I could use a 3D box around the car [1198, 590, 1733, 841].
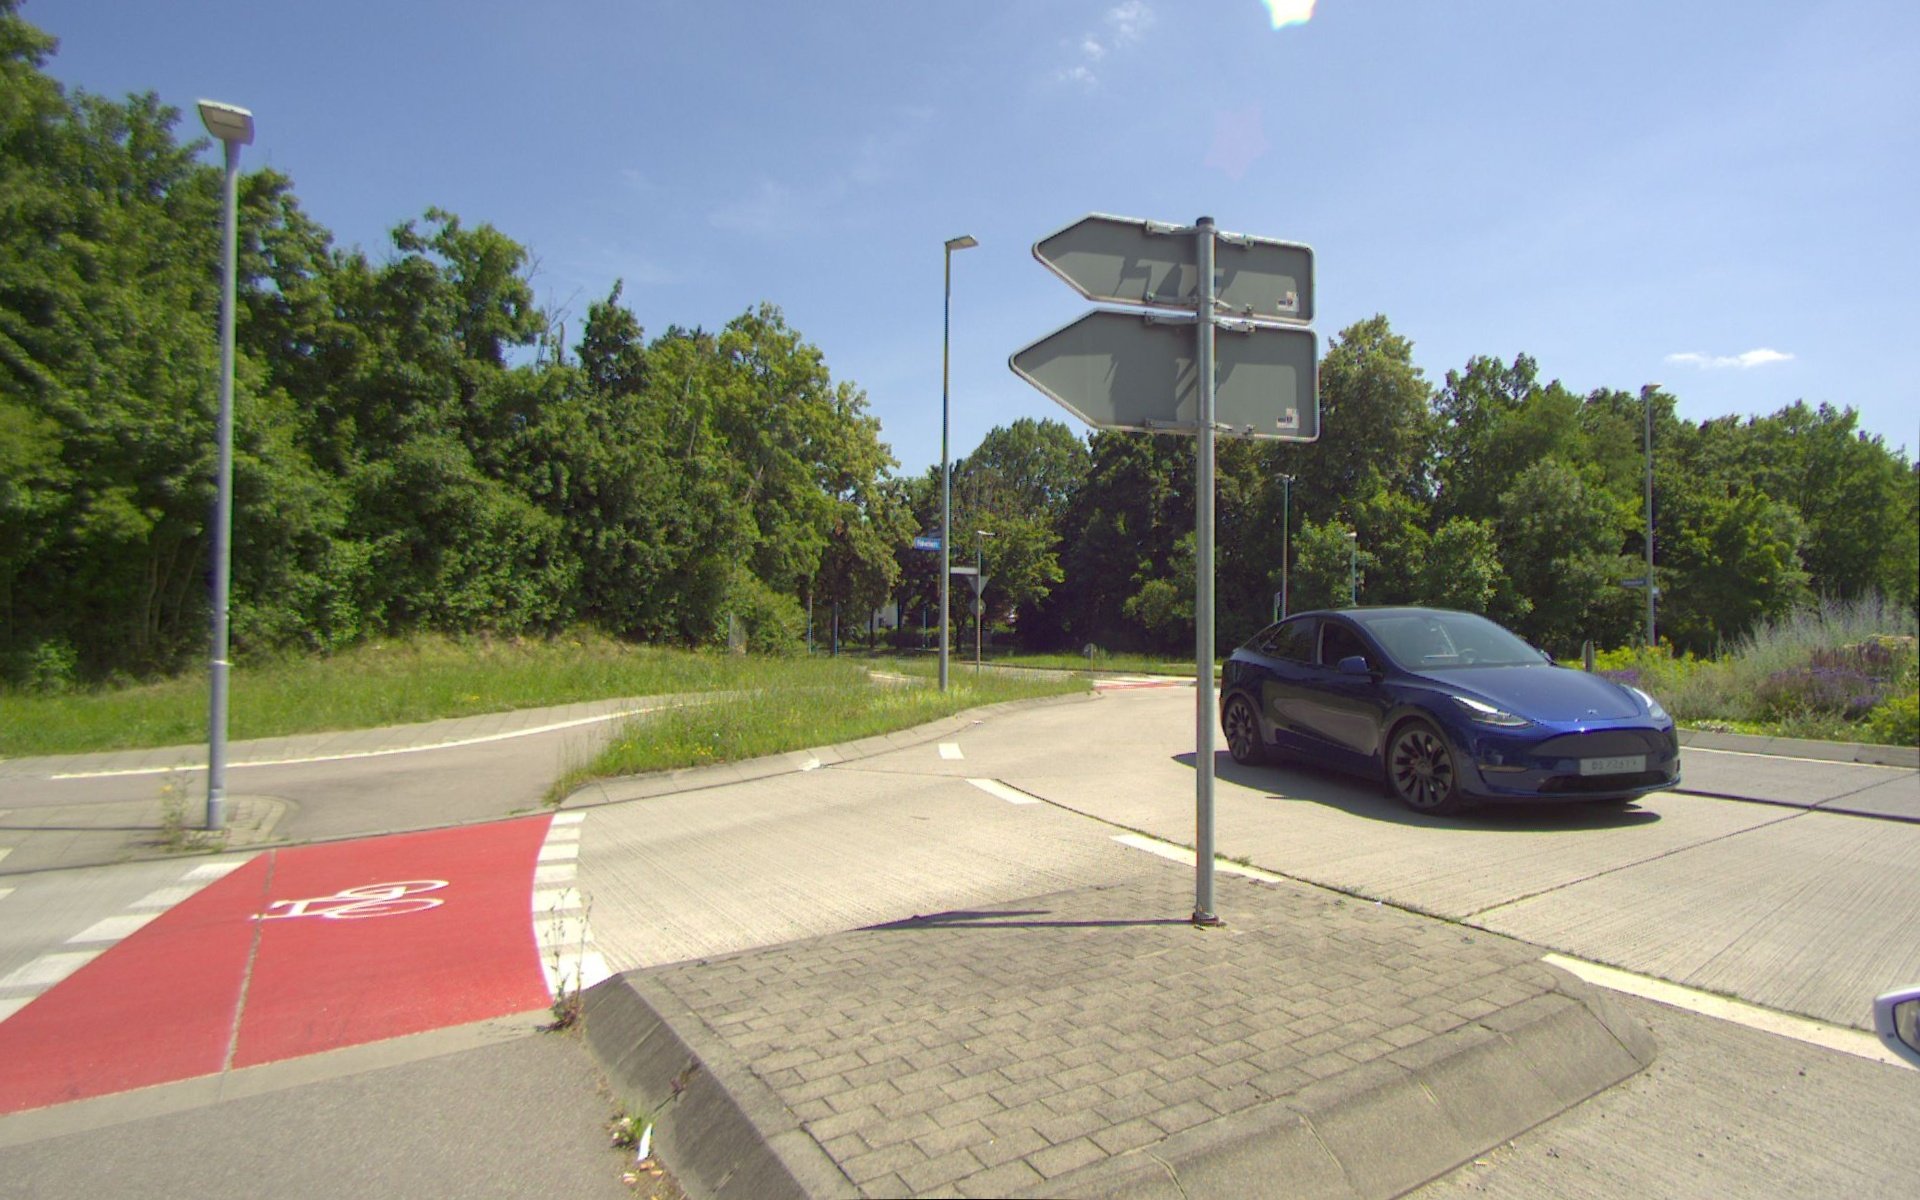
[{"bbox_3d":[4.030,0.836,9.159,1.964,1.661,4.750,1,-1,-9],"label":"car"}]
